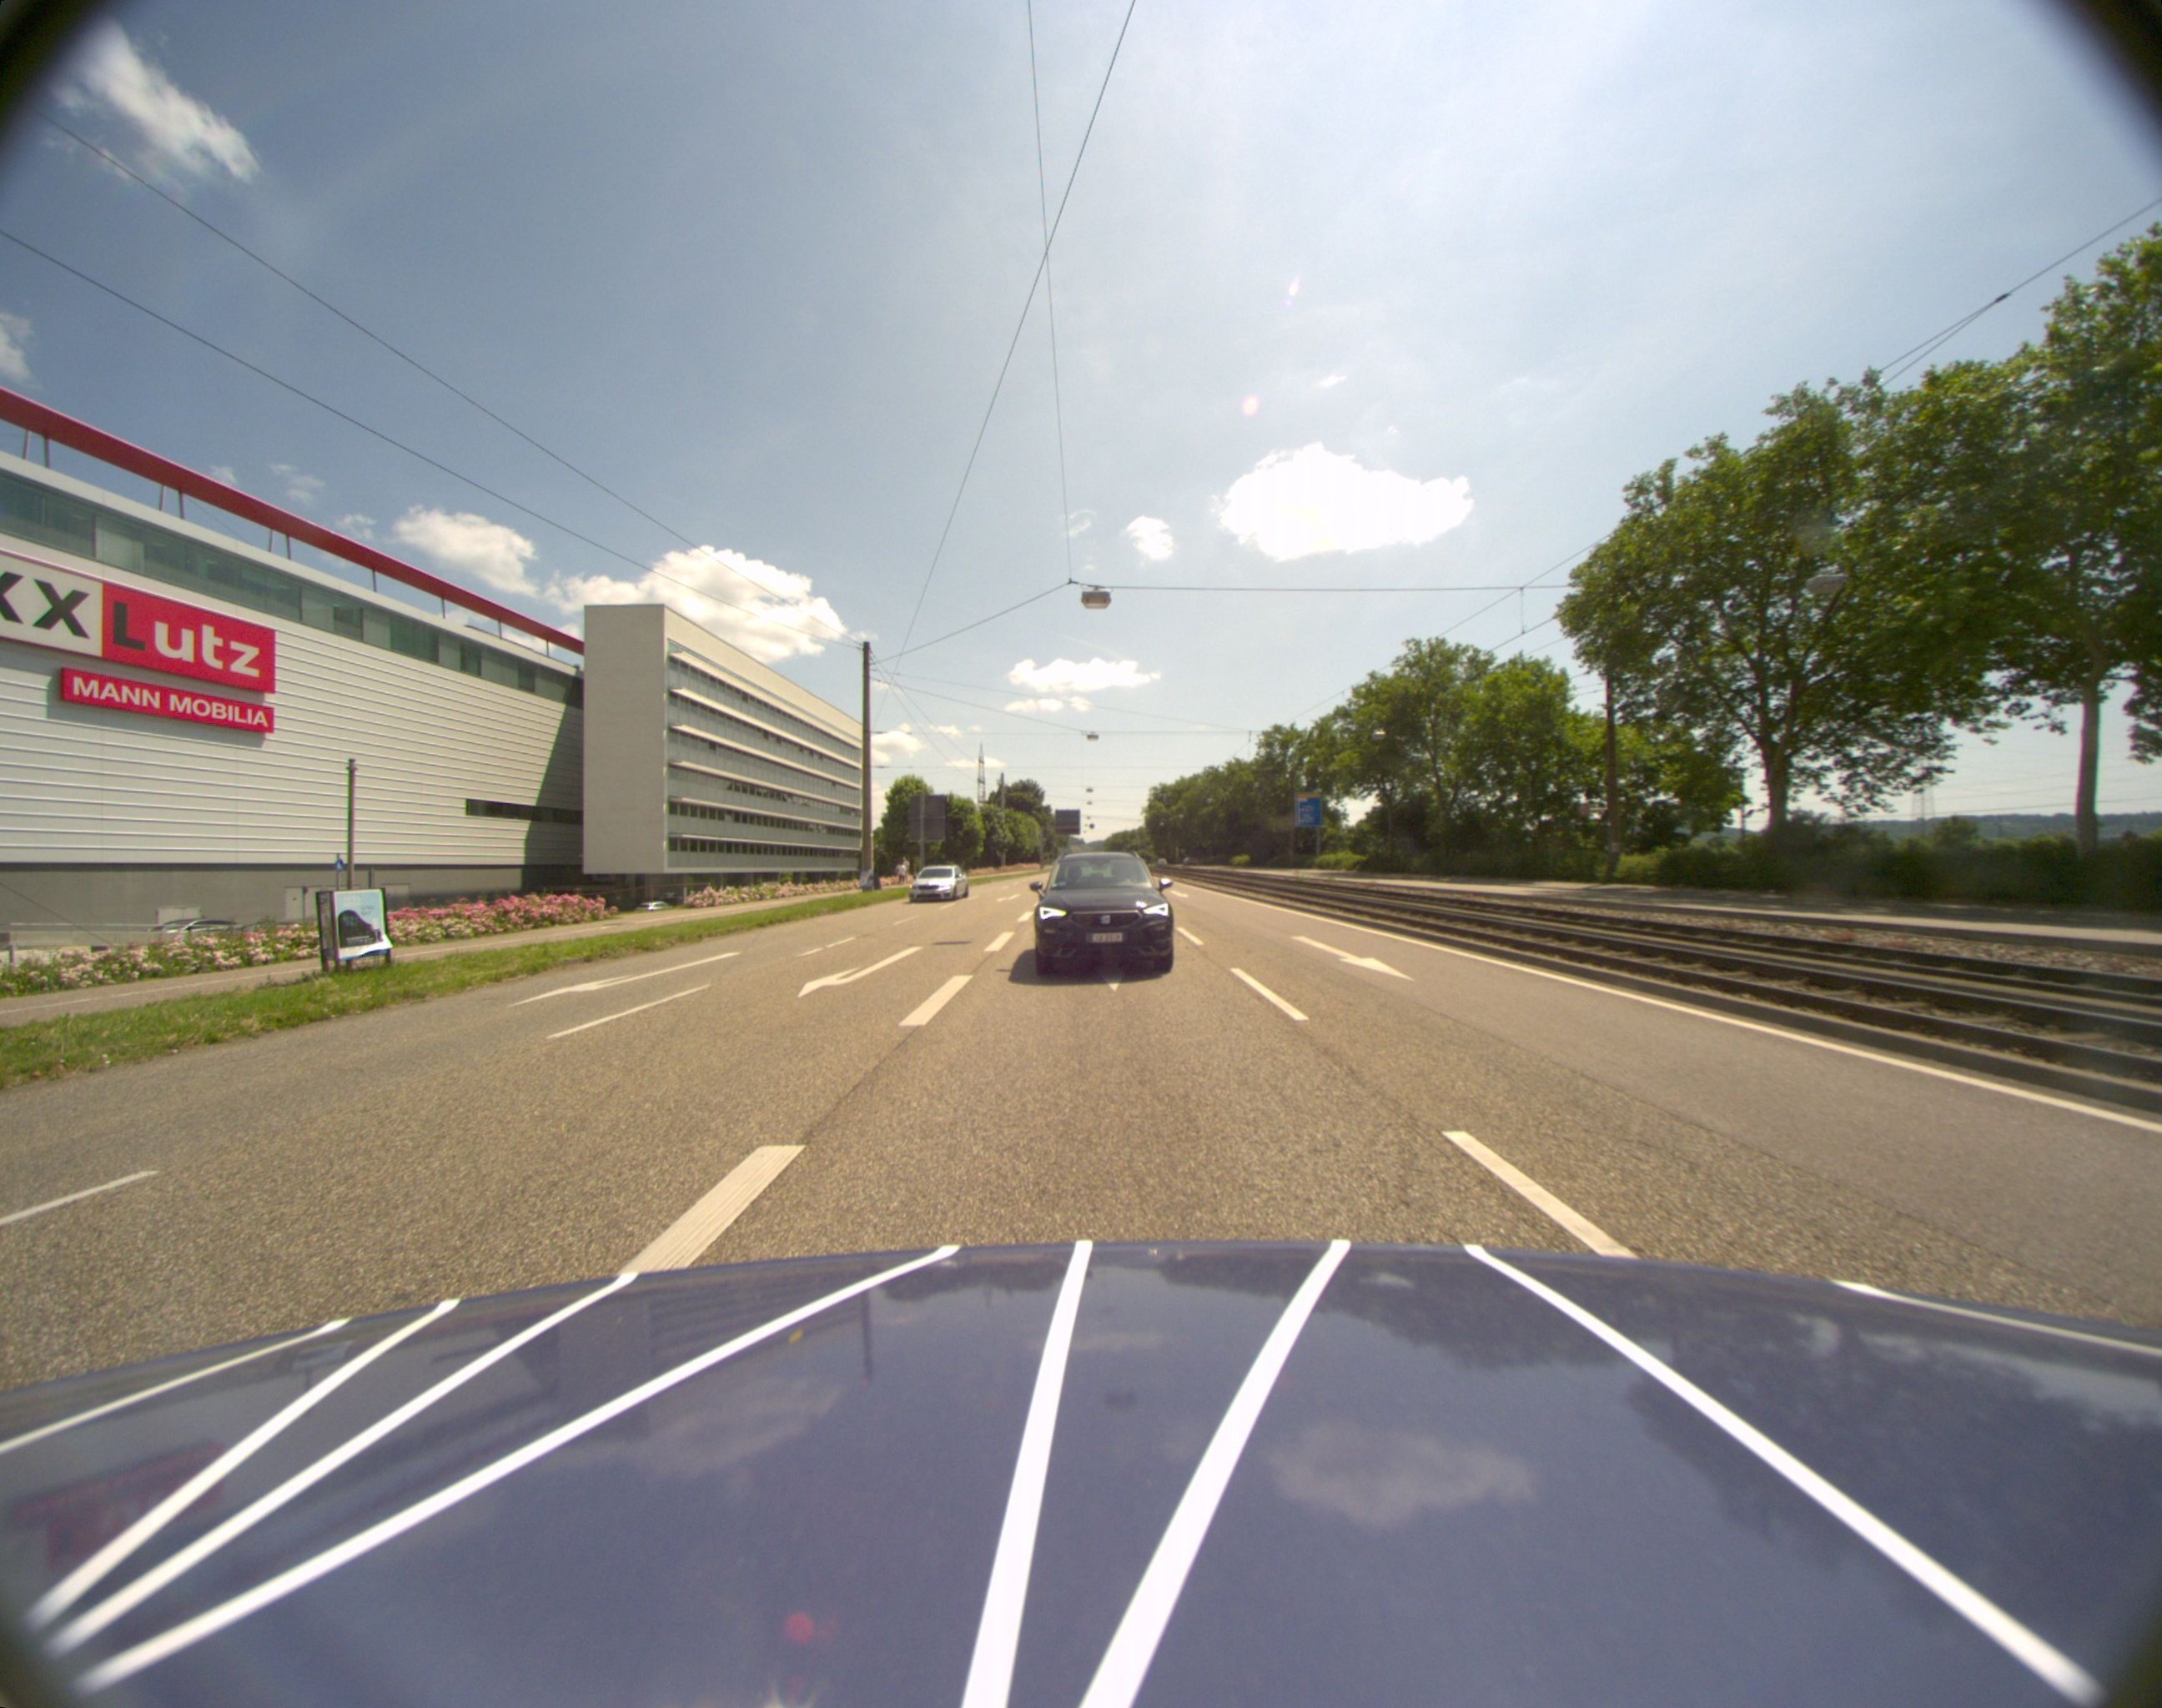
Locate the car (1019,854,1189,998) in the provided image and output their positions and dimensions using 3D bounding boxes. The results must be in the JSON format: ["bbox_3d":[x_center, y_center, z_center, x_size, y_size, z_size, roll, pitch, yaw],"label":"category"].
[{"bbox_3d":[0.270,0.814,10.885,1.898,1.564,4.511,-2,0,0],"label":"car"}]

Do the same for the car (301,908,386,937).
[{"bbox_3d":[-51.616,4.738,53.301,1.998,1.602,4.000,-2,0,0],"label":"car"}]

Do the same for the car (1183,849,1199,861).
[{"bbox_3d":[17.658,0.118,122.020,1.998,1.907,4.411,-2,0,2],"label":"car"}]

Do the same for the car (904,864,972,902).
[{"bbox_3d":[-5.768,1.136,31.096,1.896,1.331,4.000,-2,0,1],"label":"car"}]

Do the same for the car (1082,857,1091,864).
[{"bbox_3d":[1.333,1.508,182.686,1.998,1.641,4.000,-2,0,0],"label":"car"}]

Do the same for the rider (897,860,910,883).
[{"bbox_3d":[-11.324,1.117,48.492,0.671,1.449,0.618,-2,1,0],"label":"rider"}]

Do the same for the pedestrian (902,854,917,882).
[{"bbox_3d":[-11.633,0.945,51.542,0.758,1.838,0.931,-2,1,3],"label":"pedestrian"}]

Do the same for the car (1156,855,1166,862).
[{"bbox_3d":[16.972,0.870,161.843,1.826,1.407,3.884,1,0,2],"label":"car"}]

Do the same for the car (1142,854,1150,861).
[{"bbox_3d":[17.195,0.934,200.407,1.690,1.574,4.058,2,0,-1],"label":"car"}]
